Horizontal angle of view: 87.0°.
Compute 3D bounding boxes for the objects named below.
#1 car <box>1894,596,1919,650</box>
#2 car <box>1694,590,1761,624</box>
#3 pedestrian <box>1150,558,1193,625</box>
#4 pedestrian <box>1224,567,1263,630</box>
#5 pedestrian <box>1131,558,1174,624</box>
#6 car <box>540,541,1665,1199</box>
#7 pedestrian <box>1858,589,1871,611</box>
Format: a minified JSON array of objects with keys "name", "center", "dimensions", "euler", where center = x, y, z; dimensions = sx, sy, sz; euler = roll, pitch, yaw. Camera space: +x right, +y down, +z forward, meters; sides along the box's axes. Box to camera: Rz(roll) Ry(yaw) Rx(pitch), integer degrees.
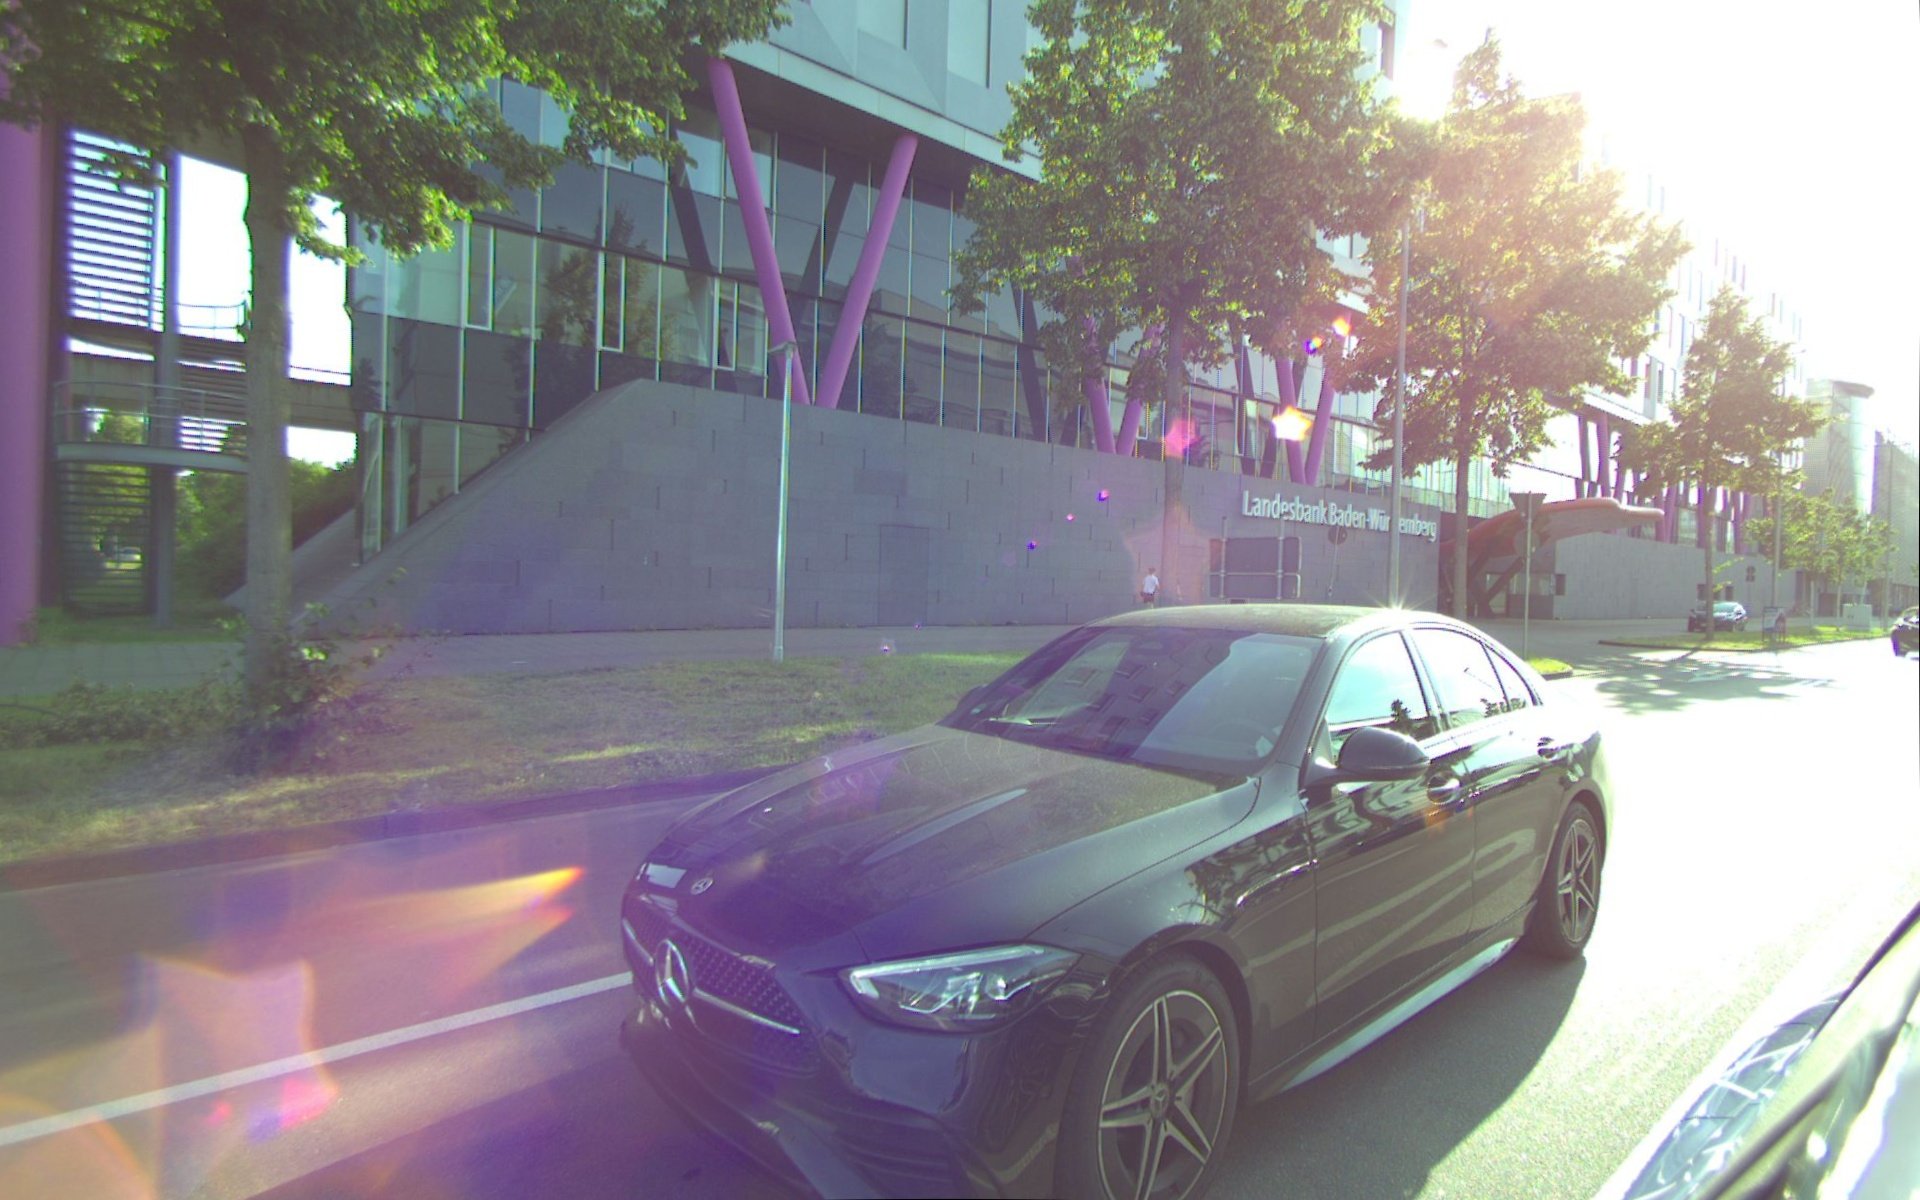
[{"name":"car","center":[26.848,0.641,26.934],"dimensions":[1.879,1.444,4.427],"euler":[-1,0,29]},{"name":"car","center":[34.826,0.323,45.889],"dimensions":[4.126,1.407,1.694],"euler":[1,1,-42]},{"name":"pedestrian","center":[5.958,-0.240,28.567],"dimensions":[0.829,1.815,0.756],"euler":[1,3,-41]},{"name":"pedestrian","center":[7.747,-0.046,27.621],"dimensions":[0.724,1.659,0.695],"euler":[1,2,-41]},{"name":"pedestrian","center":[5.535,-0.268,29.117],"dimensions":[0.838,1.847,0.769],"euler":[1,3,-41]},{"name":"car","center":[0.985,0.642,3.919],"dimensions":[4.476,1.468,1.842],"euler":[1,0,-41]},{"name":"pedestrian","center":[76.444,-0.024,85.542],"dimensions":[0.758,1.808,0.725],"euler":[0,1,-41]}]
